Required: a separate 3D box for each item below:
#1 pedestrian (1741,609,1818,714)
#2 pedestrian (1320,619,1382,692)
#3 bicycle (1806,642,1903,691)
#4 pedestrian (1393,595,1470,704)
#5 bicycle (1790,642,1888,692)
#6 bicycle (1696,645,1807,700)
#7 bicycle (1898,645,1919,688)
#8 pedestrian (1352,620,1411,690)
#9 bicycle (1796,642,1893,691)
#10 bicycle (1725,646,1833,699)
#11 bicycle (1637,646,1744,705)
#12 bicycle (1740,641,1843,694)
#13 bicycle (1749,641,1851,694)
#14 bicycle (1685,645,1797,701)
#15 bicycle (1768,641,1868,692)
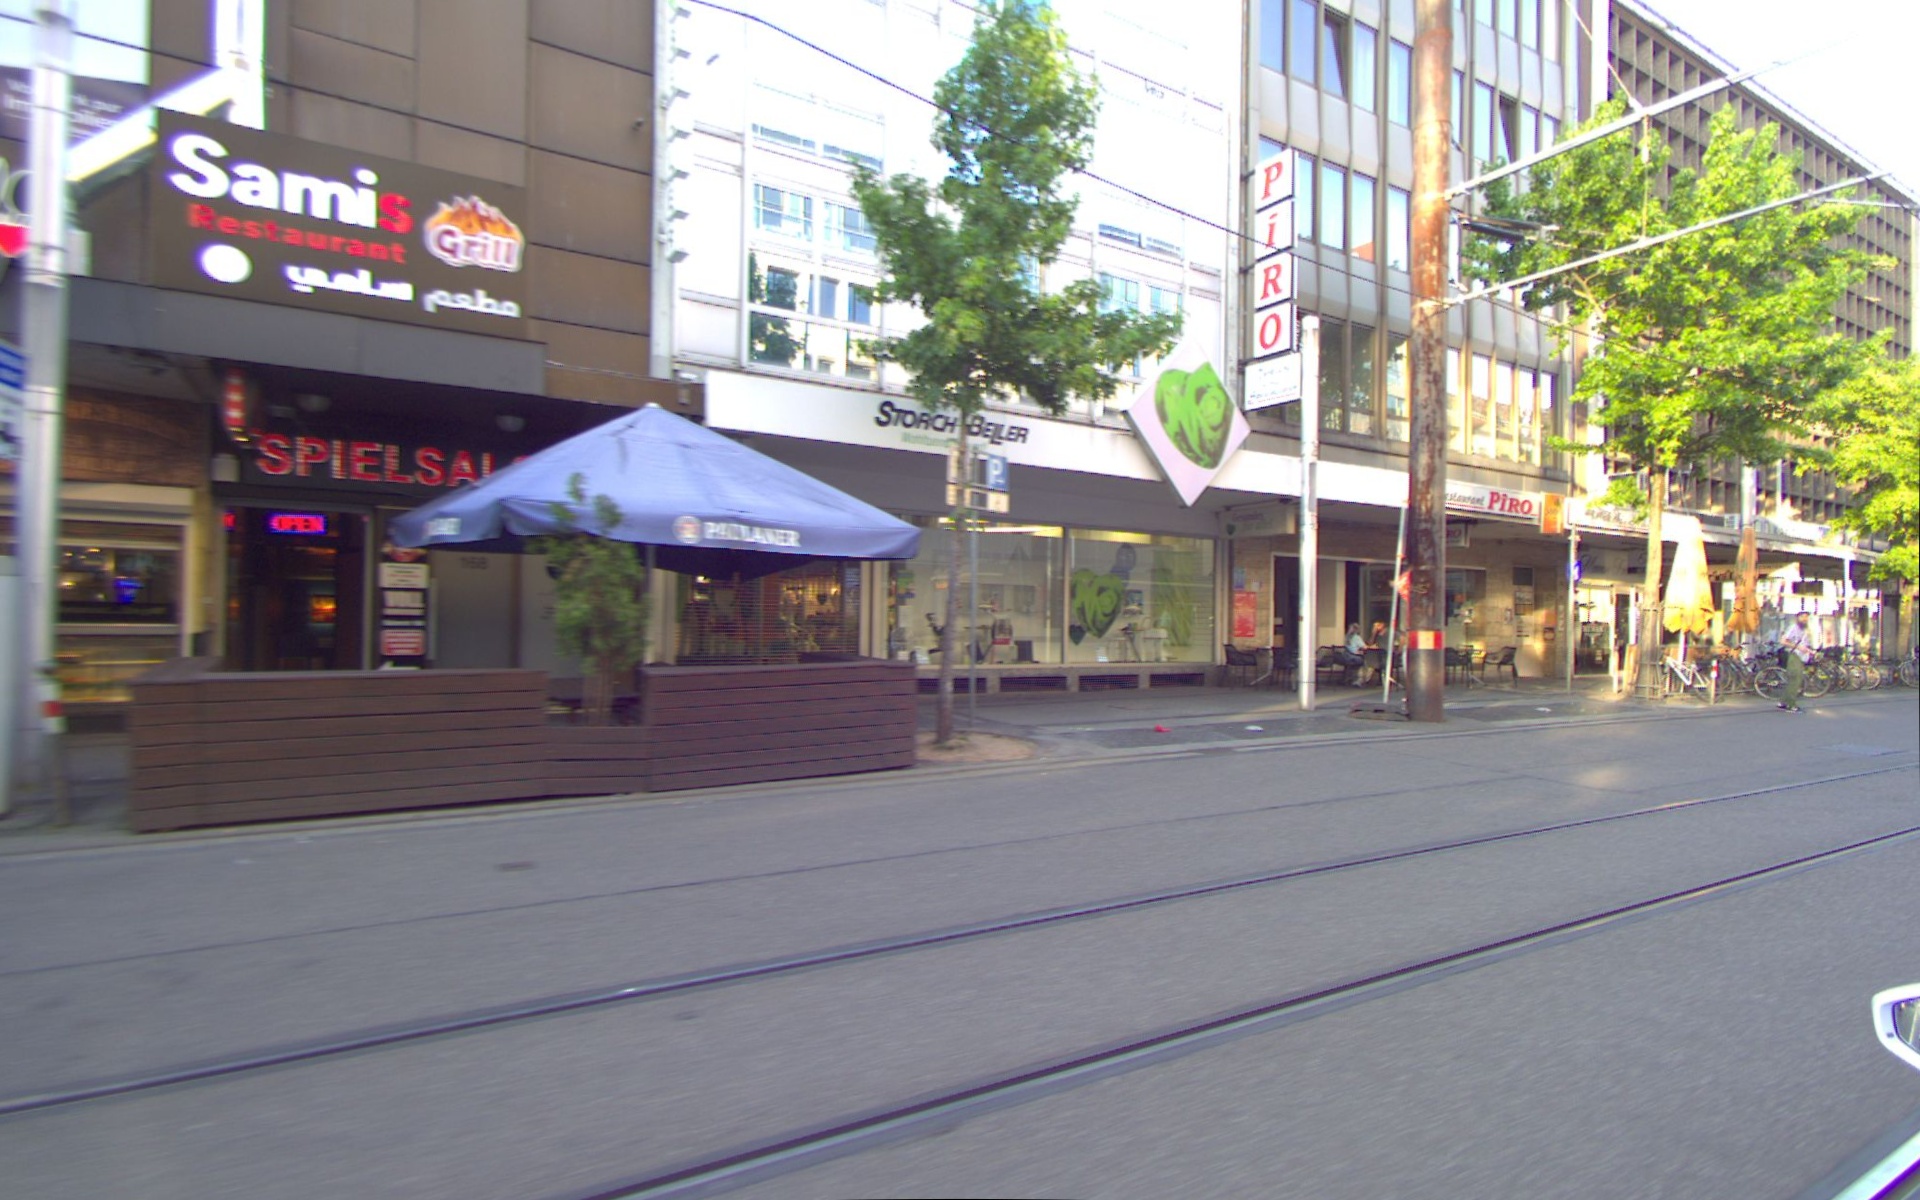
[{"bbox_3d":[14.836,1.092,18.209,0.806,1.816,0.990,1,-1,21],"label":"pedestrian"},{"bbox_3d":[7.629,1.072,19.602,0.902,1.343,0.666,2,1,-33],"label":"pedestrian"},{"bbox_3d":[22.840,1.675,25.670,0.485,1.085,1.759,1,1,-36],"label":"bicycle"},{"bbox_3d":[8.168,0.852,17.398,0.977,1.816,0.682,2,1,-26],"label":"pedestrian"},{"bbox_3d":[21.857,1.640,25.006,0.485,1.085,1.759,1,1,-36],"label":"bicycle"},{"bbox_3d":[16.719,1.517,21.260,0.485,1.003,1.759,0,1,-36],"label":"bicycle"},{"bbox_3d":[25.125,1.720,26.283,1.759,1.059,0.485,1,0,-35],"label":"bicycle"},{"bbox_3d":[8.549,1.101,20.366,0.902,1.343,0.666,2,1,-33],"label":"pedestrian"},{"bbox_3d":[22.287,1.656,25.338,0.485,1.085,1.759,1,1,-36],"label":"bicycle"},{"bbox_3d":[17.908,1.558,21.991,0.485,1.003,1.759,0,1,-36],"label":"bicycle"},{"bbox_3d":[14.262,1.458,19.676,0.481,0.978,1.772,2,0,-14],"label":"bicycle"},{"bbox_3d":[19.325,1.552,23.389,0.485,1.085,1.759,1,1,-36],"label":"bicycle"},{"bbox_3d":[19.800,1.569,23.708,0.485,1.085,1.759,1,1,-36],"label":"bicycle"},{"bbox_3d":[16.279,1.502,20.977,0.485,1.003,1.759,0,1,-36],"label":"bicycle"},{"bbox_3d":[20.817,1.605,24.398,0.485,1.085,1.759,1,1,-36],"label":"bicycle"}]
